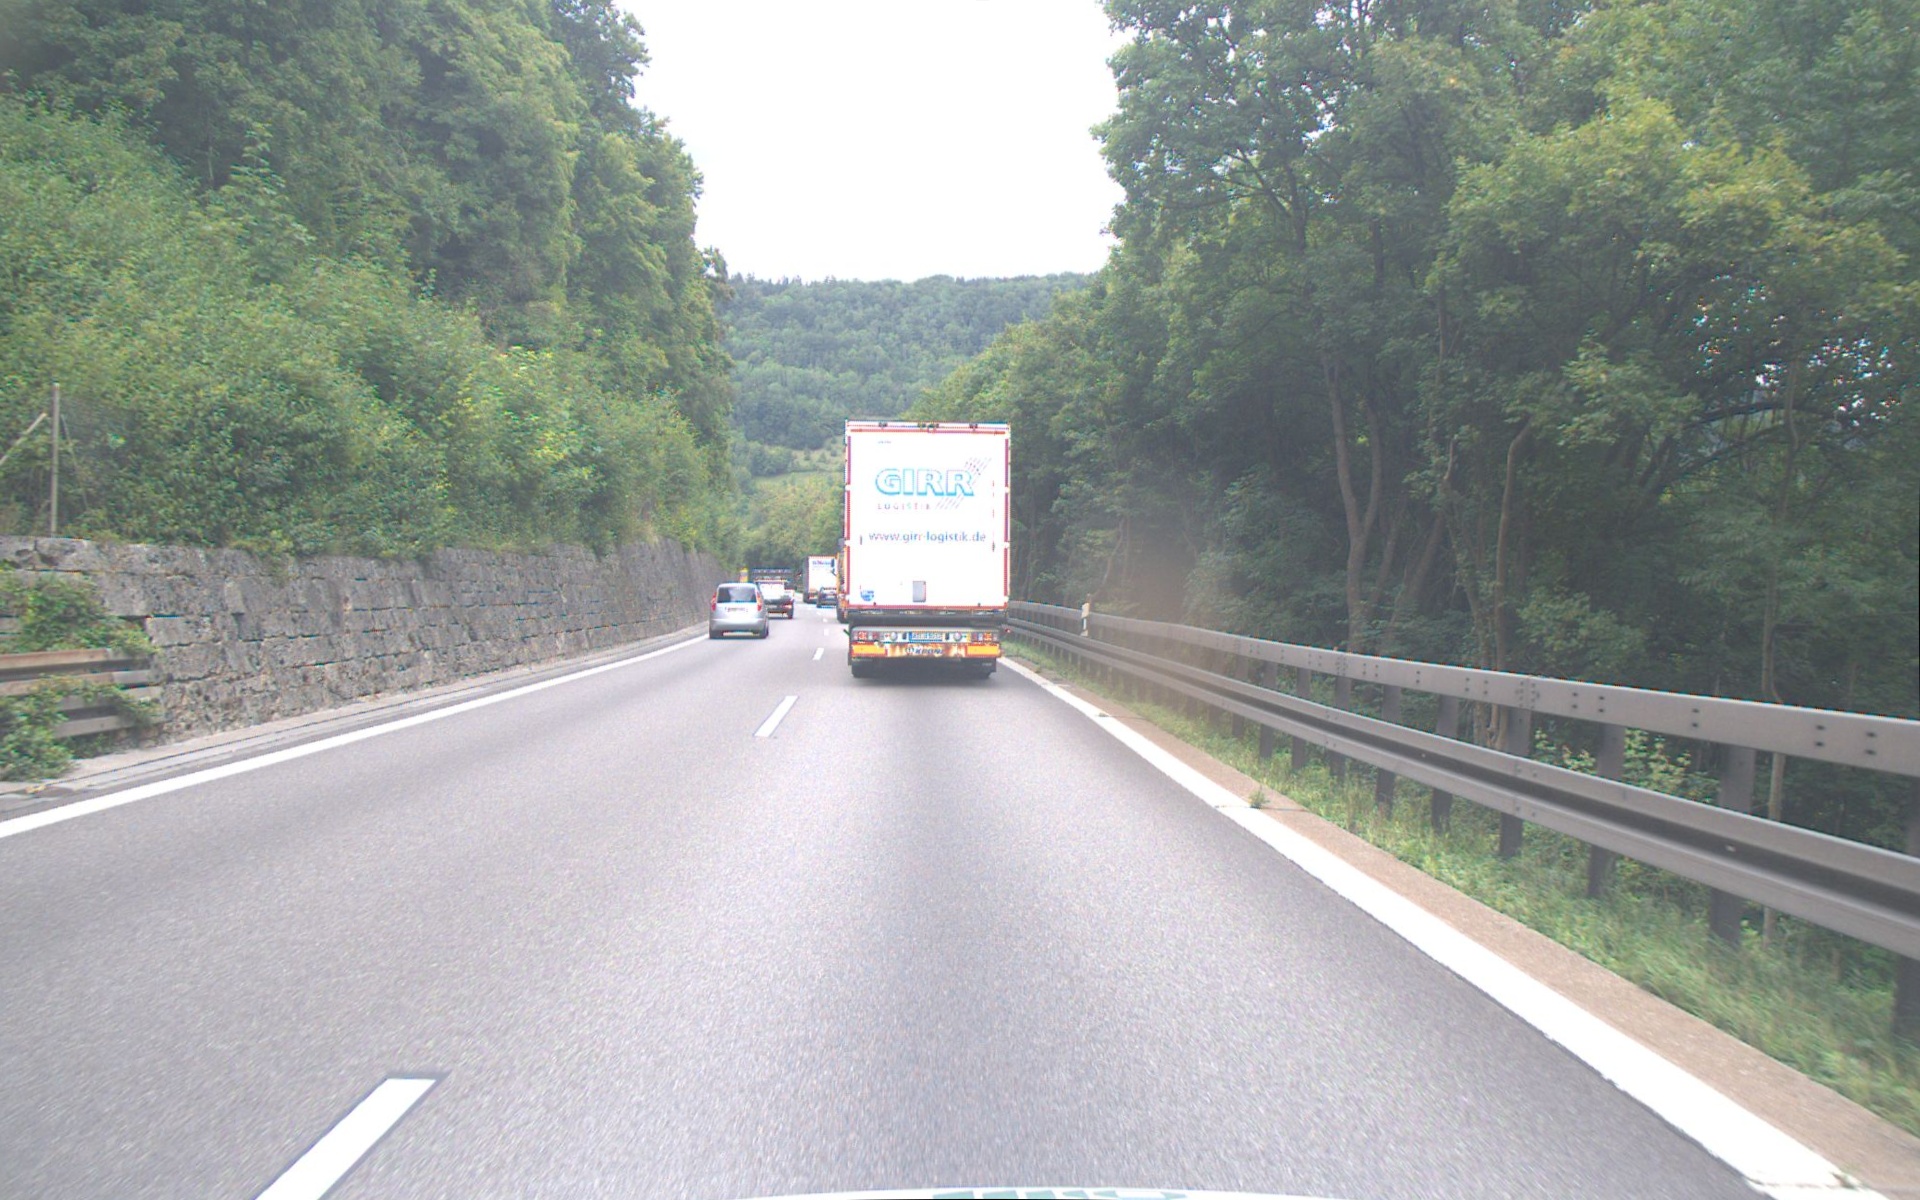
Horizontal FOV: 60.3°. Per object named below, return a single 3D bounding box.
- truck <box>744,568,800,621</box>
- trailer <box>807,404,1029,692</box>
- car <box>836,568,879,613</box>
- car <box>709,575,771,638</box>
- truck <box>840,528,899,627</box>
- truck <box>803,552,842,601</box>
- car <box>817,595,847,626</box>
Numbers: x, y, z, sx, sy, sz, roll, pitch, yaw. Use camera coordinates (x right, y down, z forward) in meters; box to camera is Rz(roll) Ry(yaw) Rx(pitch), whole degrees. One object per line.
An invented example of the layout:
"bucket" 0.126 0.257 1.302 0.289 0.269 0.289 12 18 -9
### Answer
"truck" -8.792 -0.270 77.787 2.303 2.313 6.842 2 0 -5
"trailer" -0.838 -0.817 29.463 3.071 4.112 9.434 4 0 -3
"car" -4.989 -0.462 80.428 1.954 2.049 4.329 2 0 -4
"car" -6.565 0.181 49.622 1.602 1.757 4.340 1 0 -5
"truck" -3.866 -0.908 69.703 2.189 3.870 6.817 2 0 -4
"truck" -11.676 -1.953 140.377 3.010 3.945 8.448 2 0 -6
"car" -9.039 0.715 116.218 1.955 2.049 3.995 2 0 -5
